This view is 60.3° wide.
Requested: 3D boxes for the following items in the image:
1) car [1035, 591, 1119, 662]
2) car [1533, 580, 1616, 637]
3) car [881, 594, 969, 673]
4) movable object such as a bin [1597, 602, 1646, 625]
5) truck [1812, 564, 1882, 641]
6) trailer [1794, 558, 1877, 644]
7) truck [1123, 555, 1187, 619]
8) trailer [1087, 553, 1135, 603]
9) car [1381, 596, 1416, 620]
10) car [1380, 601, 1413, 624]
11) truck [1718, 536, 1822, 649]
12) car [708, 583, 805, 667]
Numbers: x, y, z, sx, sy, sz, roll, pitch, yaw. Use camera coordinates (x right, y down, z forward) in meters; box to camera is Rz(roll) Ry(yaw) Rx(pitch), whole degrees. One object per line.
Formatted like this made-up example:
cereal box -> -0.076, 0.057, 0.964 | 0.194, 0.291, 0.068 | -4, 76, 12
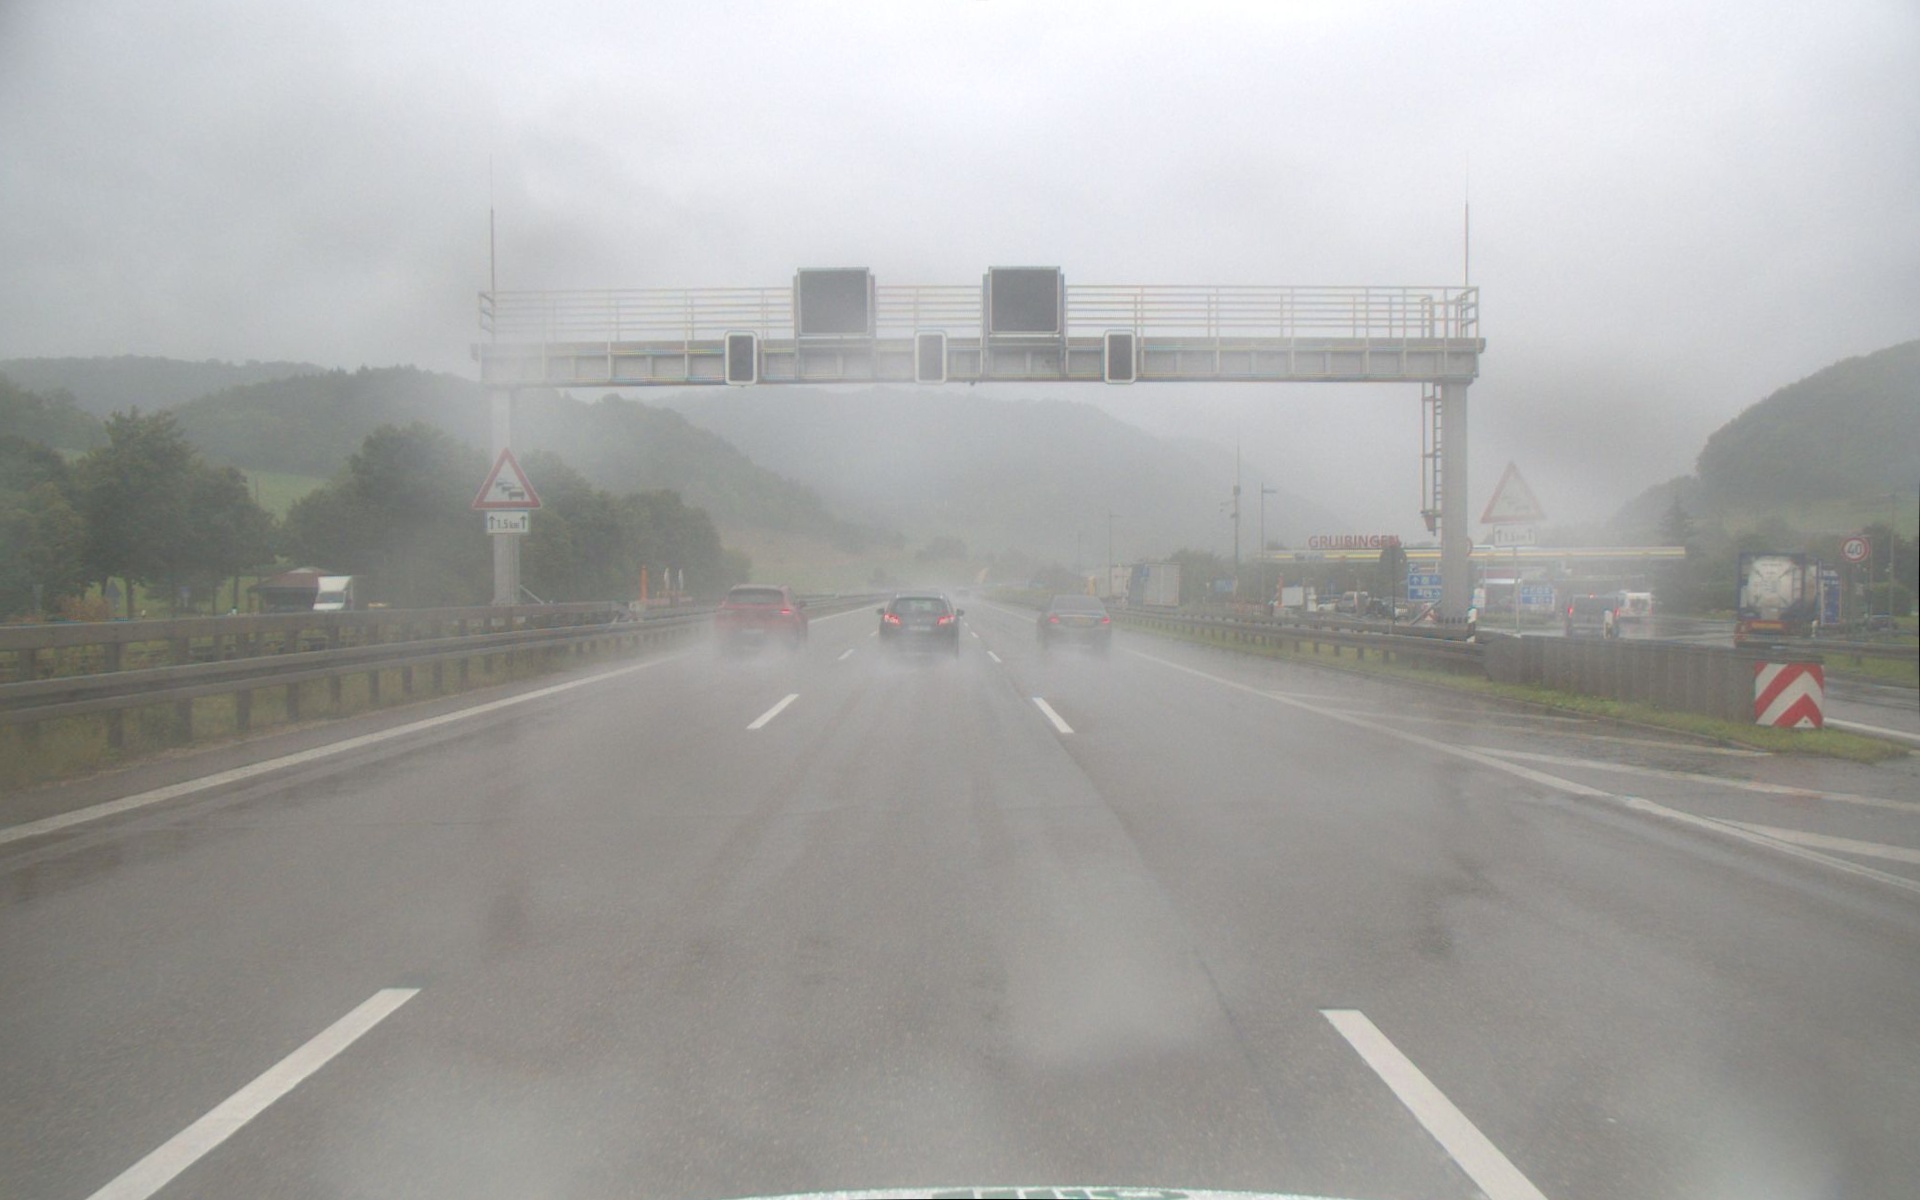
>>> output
car -> 3.106, 0.662, 44.613 | 1.931, 1.791, 4.000 | 1, 0, 0
car -> 23.243, 0.296, 62.726 | 1.951, 2.049, 5.059 | 1, 0, 9
car -> -0.747, 0.698, 36.830 | 1.821, 1.617, 4.000 | 1, 0, 0
movable object such as a bin -> 59.979, 1.206, 150.032 | 2.122, 2.049, 5.382 | 1, 0, -1
truck -> 47.495, 0.177, 88.473 | 2.699, 3.934, 7.514 | 1, 0, 32
trailer -> 43.793, 0.102, 82.534 | 2.734, 3.968, 11.719 | 1, 0, 32
truck -> 14.512, -0.949, 124.136 | 3.332, 4.479, 11.048 | 2, 0, 0
trailer -> 13.985, -1.959, 154.095 | 3.444, 4.336, 11.920 | 1, 0, 0
car -> 42.728, 0.754, 161.372 | 2.039, 2.220, 4.891 | 1, 0, -1
car -> 40.646, 1.144, 154.046 | 1.920, 2.049, 3.999 | 1, 0, -1
truck -> 34.087, -0.249, 69.305 | 2.818, 4.331, 11.843 | 1, 0, 31
car -> -4.687, 0.530, 38.599 | 1.846, 1.847, 3.999 | 0, 0, -1
